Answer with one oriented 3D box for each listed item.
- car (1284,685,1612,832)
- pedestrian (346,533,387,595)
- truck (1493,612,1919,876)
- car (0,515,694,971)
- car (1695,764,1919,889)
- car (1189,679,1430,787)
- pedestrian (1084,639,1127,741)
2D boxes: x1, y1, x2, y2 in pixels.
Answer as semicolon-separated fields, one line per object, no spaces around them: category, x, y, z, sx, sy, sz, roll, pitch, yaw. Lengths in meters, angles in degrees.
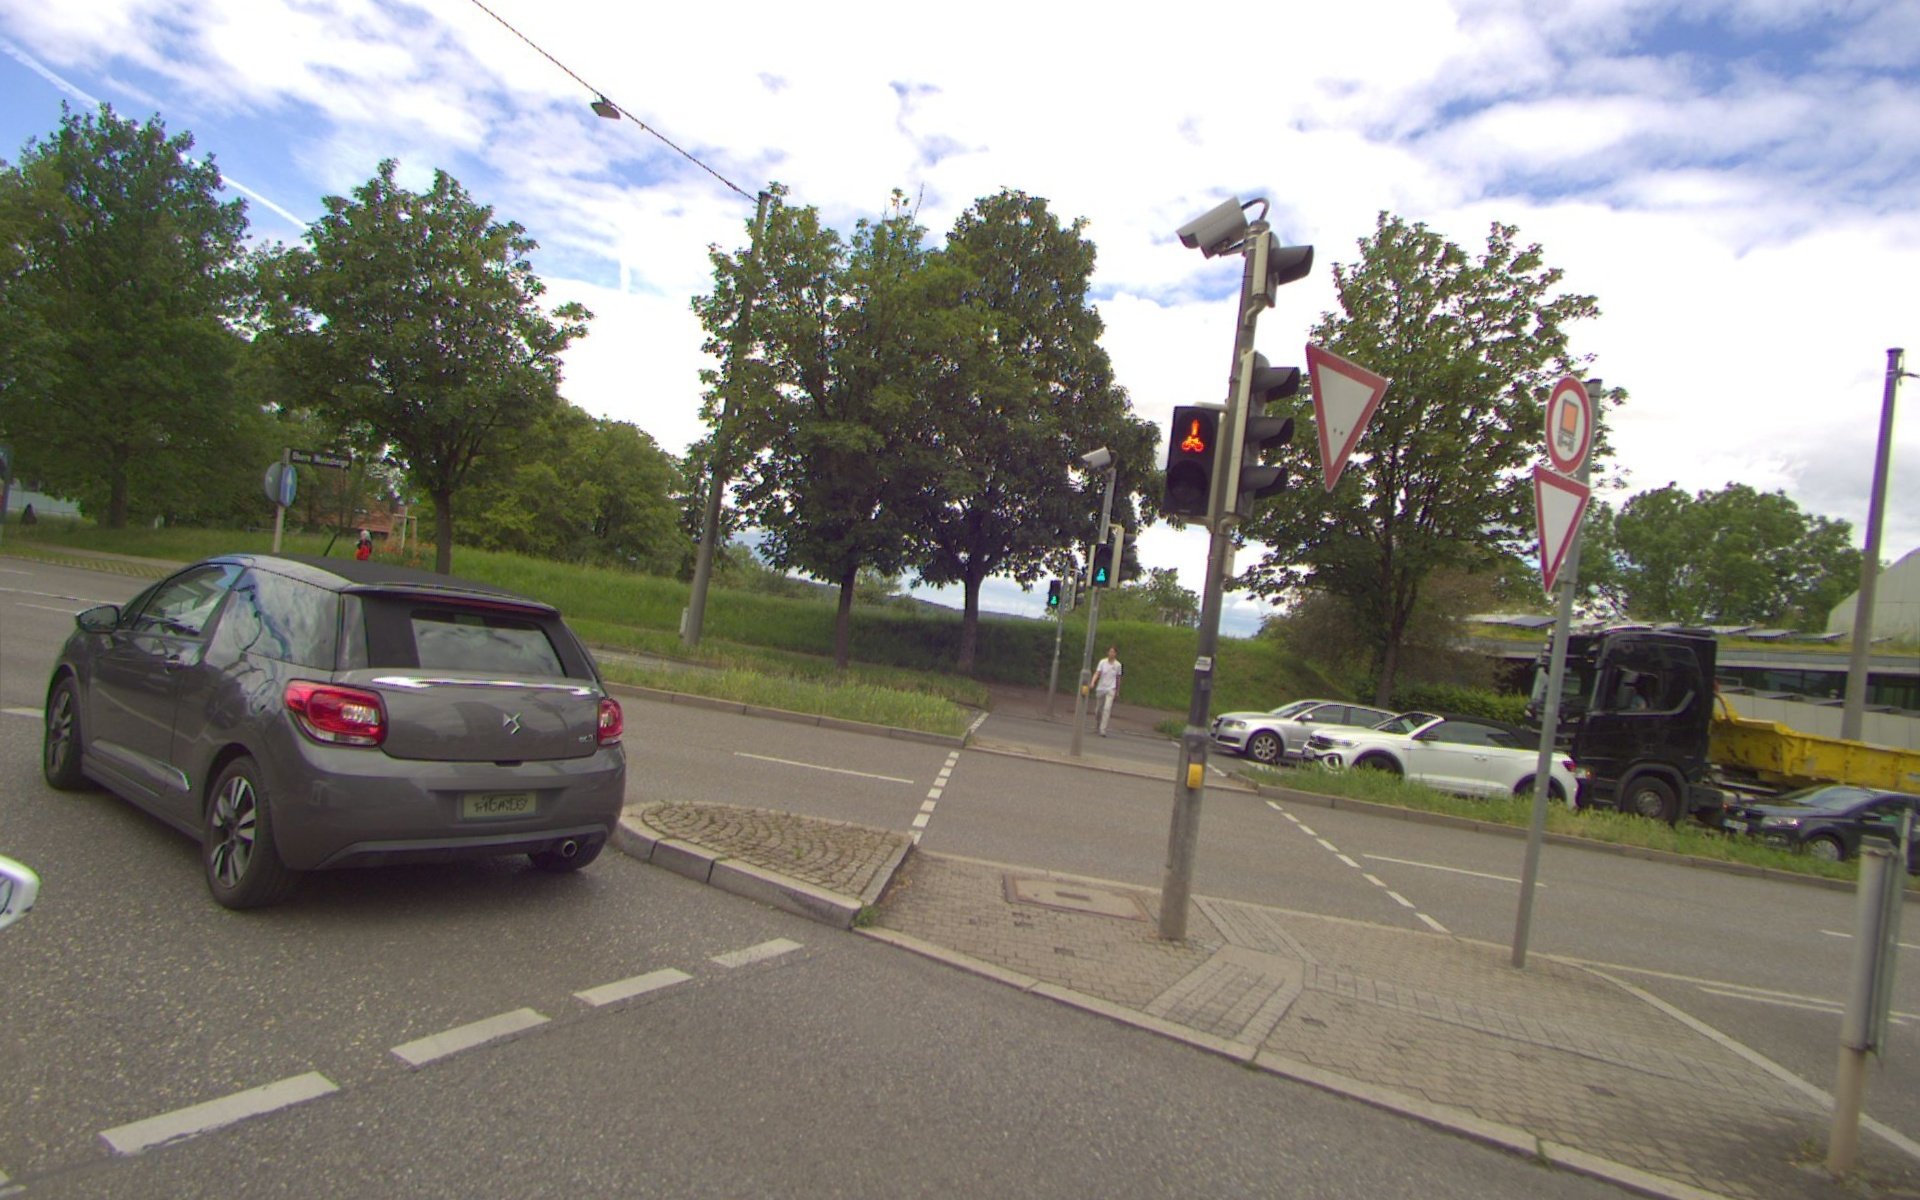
car;7.969;2.572;16.771;4.405;1.547;1.857;9;-1;2
pedestrian;-16.648;-1.011;28.212;0.689;1.626;0.542;8;5;3
truck;16.053;2.876;19.712;9.283;3.971;2.830;8;-1;1
car;-3.538;0.510;5.465;3.997;1.478;1.703;6;-2;34
car;14.637;3.762;16.411;3.904;1.390;1.655;8;-1;2
car;6.962;2.647;20.420;4.081;1.459;1.991;8;-2;2
pedestrian;2.924;1.800;20.265;0.576;1.940;0.757;8;-1;9
